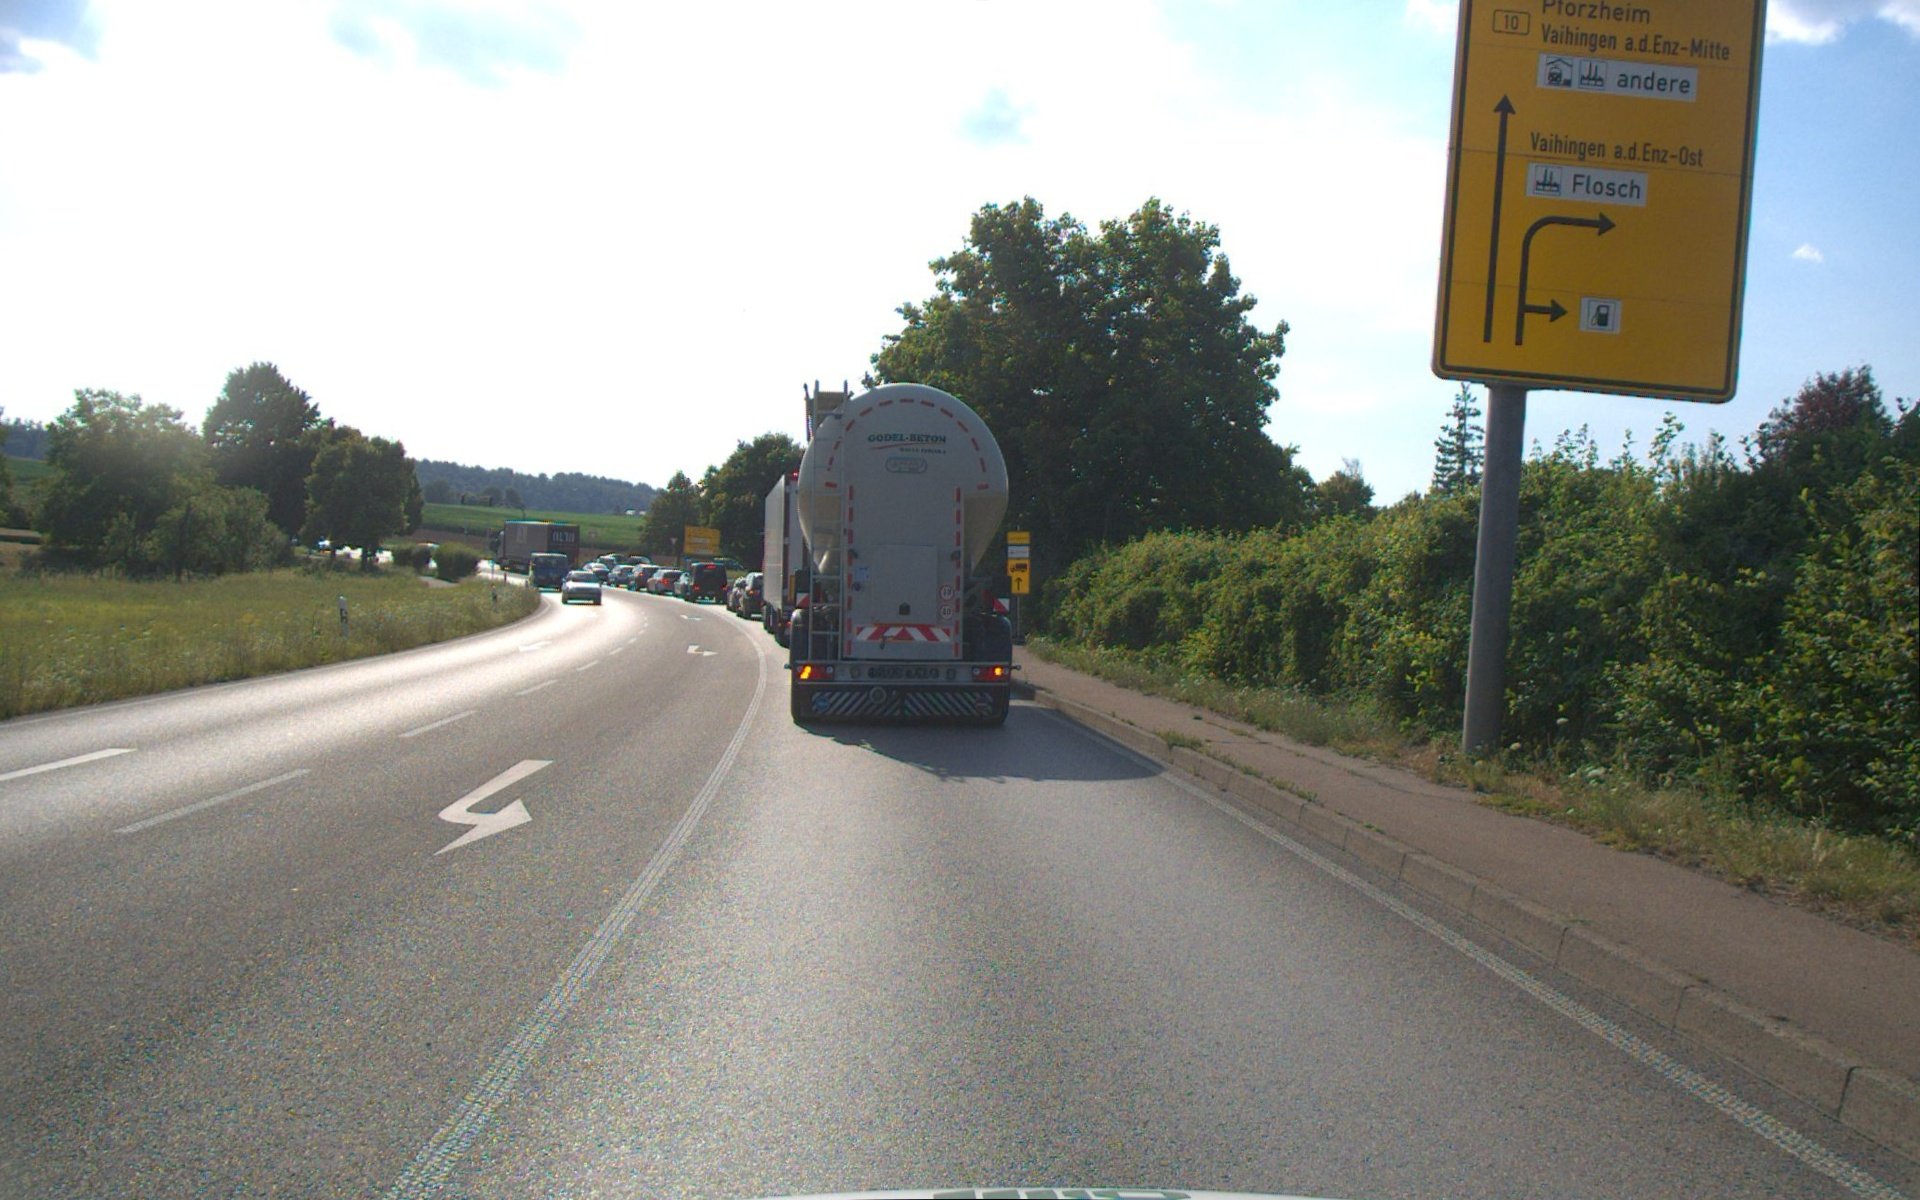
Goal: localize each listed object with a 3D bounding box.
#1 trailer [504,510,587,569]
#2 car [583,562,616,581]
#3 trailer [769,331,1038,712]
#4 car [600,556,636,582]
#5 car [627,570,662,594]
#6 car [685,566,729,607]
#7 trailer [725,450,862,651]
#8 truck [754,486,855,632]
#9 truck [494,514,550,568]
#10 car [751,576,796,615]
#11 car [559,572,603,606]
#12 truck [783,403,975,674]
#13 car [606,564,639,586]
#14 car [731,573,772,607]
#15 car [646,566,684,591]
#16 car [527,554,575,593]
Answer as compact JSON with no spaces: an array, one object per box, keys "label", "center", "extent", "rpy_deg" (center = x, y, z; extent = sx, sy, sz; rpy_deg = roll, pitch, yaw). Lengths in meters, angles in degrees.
[{"label":"trailer","center":[-34.054,-4.882,135.413],"extent":[3.336,4.426,14.167],"rpy_deg":[2,1,-27]},{"label":"car","center":[-25.863,-2.038,118.644],"extent":[1.745,1.226,3.403],"rpy_deg":[2,1,-22]},{"label":"trailer","center":[-1.017,-0.886,22.962],"extent":[2.853,4.076,9.920],"rpy_deg":[1,0,-5]},{"label":"car","center":[-29.074,-2.676,140.469],"extent":[1.971,2.048,3.964],"rpy_deg":[1,2,-28]},{"label":"car","center":[-19.939,-1.149,104.455],"extent":[1.558,1.364,3.403],"rpy_deg":[2,1,-22]},{"label":"car","center":[-12.959,-0.708,84.631],"extent":[1.831,2.049,3.704],"rpy_deg":[1,1,-15]},{"label":"trailer","center":[-4.290,-1.195,44.425],"extent":[2.897,4.390,14.163],"rpy_deg":[2,0,-4]},{"label":"truck","center":[-4.965,-1.283,53.257],"extent":[2.894,4.378,4.926],"rpy_deg":[2,0,-5]},{"label":"truck","center":[-37.790,-5.048,142.646],"extent":[3.337,4.426,5.655],"rpy_deg":[2,0,-28]},{"label":"car","center":[-7.020,-0.195,62.206],"extent":[1.551,1.364,3.419],"rpy_deg":[2,0,-8]},{"label":"car","center":[-17.028,-0.500,74.430],"extent":[1.676,1.453,4.168],"rpy_deg":[2,0,-10]},{"label":"truck","center":[-1.395,-0.950,27.356],"extent":[2.853,4.076,4.056],"rpy_deg":[1,0,-5]},{"label":"car","center":[-22.949,-1.721,112.408],"extent":[1.558,1.364,3.403],"rpy_deg":[2,1,-22]},{"label":"car","center":[-8.904,-0.434,70.547],"extent":[1.551,1.364,3.418],"rpy_deg":[2,0,-10]},{"label":"car","center":[-17.581,-1.274,98.560],"extent":[1.558,1.364,3.403],"rpy_deg":[2,1,-22]},{"label":"car","center":[-23.749,-1.543,95.989],"extent":[1.971,2.174,4.747],"rpy_deg":[2,0,-22]}]
